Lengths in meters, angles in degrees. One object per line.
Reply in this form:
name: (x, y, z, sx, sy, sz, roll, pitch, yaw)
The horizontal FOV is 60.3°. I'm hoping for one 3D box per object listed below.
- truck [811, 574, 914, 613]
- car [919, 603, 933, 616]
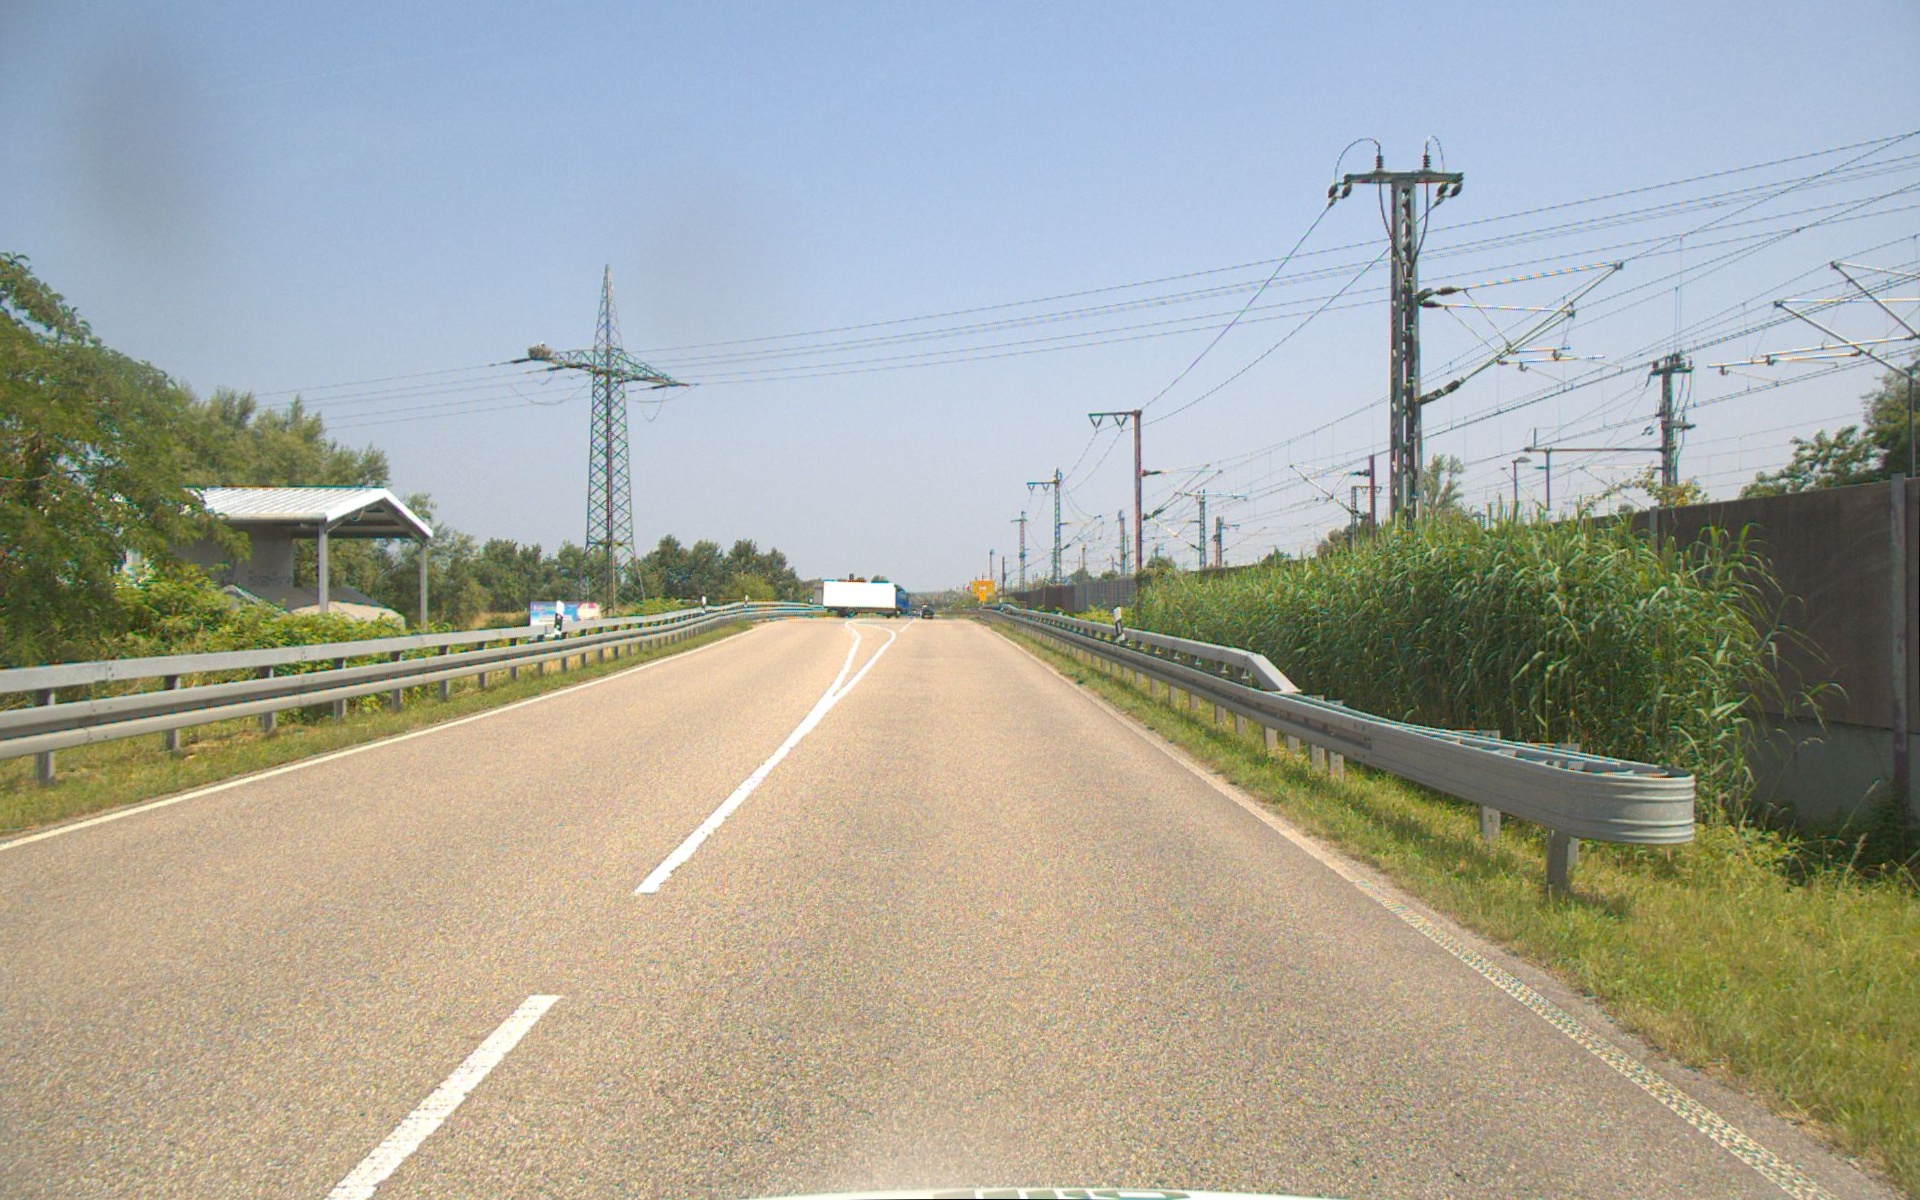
truck: (-9.920, -0.662, 168.850, 10.300, 3.695, 2.817, 1, 0, -30)
car: (-5.348, 1.441, 256.873, 1.954, 2.049, 3.996, 1, 0, -5)
